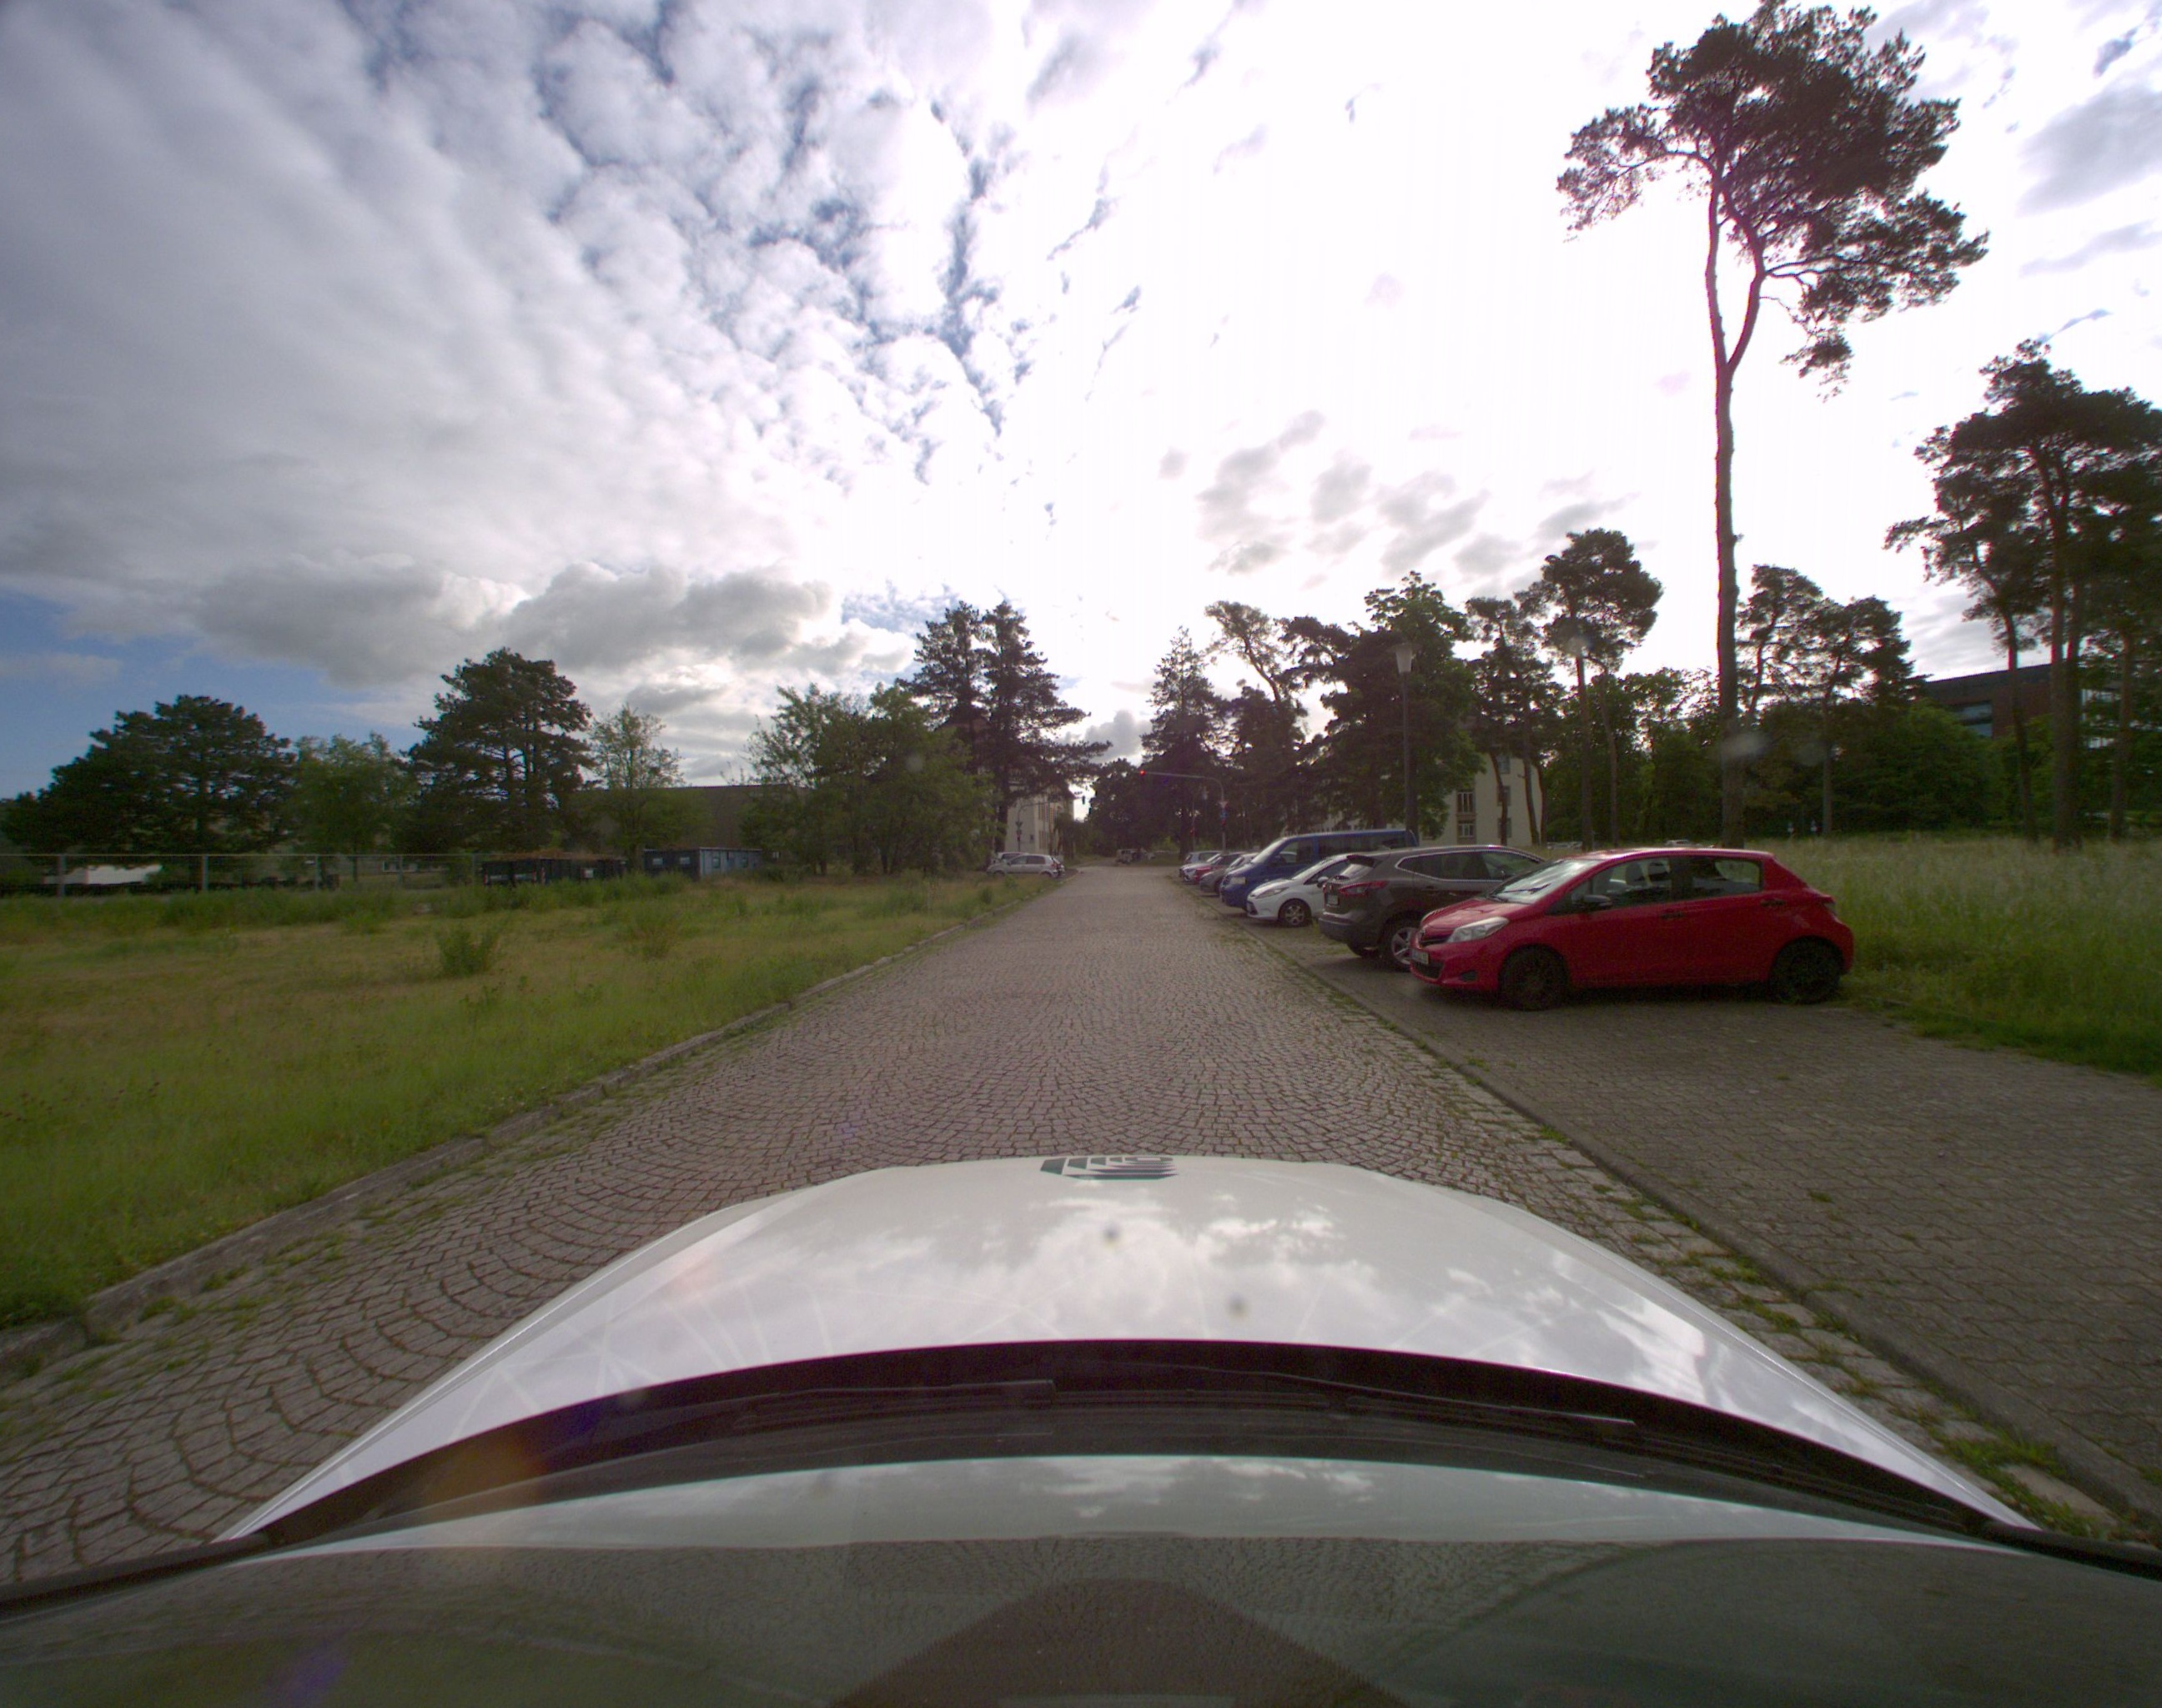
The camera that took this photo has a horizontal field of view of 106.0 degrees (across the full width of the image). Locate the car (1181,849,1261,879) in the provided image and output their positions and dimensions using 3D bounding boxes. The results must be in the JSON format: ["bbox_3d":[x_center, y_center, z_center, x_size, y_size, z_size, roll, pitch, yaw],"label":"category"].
[{"bbox_3d":[7.517,0.527,43.822,3.957,1.421,1.619,-3,0,-2],"label":"car"}]

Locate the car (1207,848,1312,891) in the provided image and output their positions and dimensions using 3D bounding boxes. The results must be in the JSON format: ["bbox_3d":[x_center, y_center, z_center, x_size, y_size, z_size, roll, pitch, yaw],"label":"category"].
[{"bbox_3d":[6.773,0.574,31.082,3.659,1.449,1.524,-3,0,1],"label":"car"}]

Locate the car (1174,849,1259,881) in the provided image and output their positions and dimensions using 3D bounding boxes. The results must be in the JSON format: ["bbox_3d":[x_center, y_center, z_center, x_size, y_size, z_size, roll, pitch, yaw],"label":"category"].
[{"bbox_3d":[6.800,0.562,41.199,3.957,1.421,1.619,-3,0,-2],"label":"car"}]

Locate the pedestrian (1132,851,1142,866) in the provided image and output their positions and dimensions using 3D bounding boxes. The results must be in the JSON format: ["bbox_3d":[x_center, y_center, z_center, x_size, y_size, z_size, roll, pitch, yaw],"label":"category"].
[{"bbox_3d":[6.432,0.513,93.235,1.030,1.614,0.757,-1,0,-2],"label":"pedestrian"}]

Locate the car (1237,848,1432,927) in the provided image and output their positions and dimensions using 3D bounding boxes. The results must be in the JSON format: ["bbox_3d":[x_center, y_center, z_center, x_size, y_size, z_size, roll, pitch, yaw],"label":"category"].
[{"bbox_3d":[5.347,0.682,17.483,3.659,1.449,1.615,-3,0,0],"label":"car"}]

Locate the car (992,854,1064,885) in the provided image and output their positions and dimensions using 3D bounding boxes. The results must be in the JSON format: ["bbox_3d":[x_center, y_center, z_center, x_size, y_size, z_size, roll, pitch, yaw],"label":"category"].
[{"bbox_3d":[-2.942,0.860,45.651,3.806,1.572,1.565,-3,0,2],"label":"car"}]

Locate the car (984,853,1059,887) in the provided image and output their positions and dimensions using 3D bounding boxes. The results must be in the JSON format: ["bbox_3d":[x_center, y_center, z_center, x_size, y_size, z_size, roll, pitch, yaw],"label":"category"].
[{"bbox_3d":[-3.121,0.826,43.238,3.810,1.572,1.564,-3,0,-1],"label":"car"}]

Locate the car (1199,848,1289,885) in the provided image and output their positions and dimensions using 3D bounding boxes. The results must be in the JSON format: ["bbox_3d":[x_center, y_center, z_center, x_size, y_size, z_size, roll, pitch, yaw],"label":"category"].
[{"bbox_3d":[7.164,0.549,36.065,3.659,1.449,1.524,-3,0,1],"label":"car"}]

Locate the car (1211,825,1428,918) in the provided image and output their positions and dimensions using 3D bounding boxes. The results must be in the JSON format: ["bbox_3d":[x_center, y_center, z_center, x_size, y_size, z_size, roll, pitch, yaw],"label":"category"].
[{"bbox_3d":[5.731,0.420,20.064,4.737,1.954,1.932,-3,0,1],"label":"car"}]

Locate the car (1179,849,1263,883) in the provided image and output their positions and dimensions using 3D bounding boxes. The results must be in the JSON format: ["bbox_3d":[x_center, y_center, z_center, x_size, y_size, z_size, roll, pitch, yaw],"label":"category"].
[{"bbox_3d":[6.553,0.562,38.350,3.662,1.421,1.523,-3,0,-2],"label":"car"}]

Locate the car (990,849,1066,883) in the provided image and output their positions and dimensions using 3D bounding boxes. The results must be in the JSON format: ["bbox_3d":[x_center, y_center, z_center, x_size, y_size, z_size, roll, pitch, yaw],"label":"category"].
[{"bbox_3d":[-3.124,0.704,48.653,4.245,1.840,1.745,-3,0,2],"label":"car"}]

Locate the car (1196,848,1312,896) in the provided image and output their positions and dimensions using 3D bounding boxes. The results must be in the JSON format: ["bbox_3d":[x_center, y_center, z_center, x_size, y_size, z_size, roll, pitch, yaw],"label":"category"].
[{"bbox_3d":[5.907,0.610,28.128,3.659,1.449,1.524,-3,0,1],"label":"car"}]

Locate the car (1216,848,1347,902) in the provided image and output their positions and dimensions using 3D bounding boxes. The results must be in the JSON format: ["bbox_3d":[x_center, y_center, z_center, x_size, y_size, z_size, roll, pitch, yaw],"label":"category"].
[{"bbox_3d":[6.172,0.636,25.332,3.659,1.449,1.524,-3,0,1],"label":"car"}]

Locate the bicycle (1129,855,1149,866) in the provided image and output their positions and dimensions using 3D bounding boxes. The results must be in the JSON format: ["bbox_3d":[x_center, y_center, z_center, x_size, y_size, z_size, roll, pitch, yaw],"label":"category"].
[{"bbox_3d":[6.615,0.716,92.883,2.131,1.215,0.621,-1,0,-2],"label":"bicycle"}]

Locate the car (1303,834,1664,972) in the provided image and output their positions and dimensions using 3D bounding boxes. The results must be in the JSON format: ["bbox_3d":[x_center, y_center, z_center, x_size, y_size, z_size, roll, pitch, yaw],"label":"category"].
[{"bbox_3d":[5.286,0.616,11.098,4.015,1.552,1.751,-3,0,0],"label":"car"}]

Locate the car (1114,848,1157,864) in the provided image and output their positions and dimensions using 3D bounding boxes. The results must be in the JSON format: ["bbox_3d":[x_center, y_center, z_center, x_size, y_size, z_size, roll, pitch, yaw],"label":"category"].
[{"bbox_3d":[7.392,0.286,110.792,5.439,2.013,2.264,-1,0,-6],"label":"car"}]

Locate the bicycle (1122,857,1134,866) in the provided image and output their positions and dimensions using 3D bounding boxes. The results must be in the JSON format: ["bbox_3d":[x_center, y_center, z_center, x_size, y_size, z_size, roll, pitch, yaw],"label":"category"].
[{"bbox_3d":[5.087,0.832,88.876,0.623,0.945,1.649,0,0,-24],"label":"bicycle"}]

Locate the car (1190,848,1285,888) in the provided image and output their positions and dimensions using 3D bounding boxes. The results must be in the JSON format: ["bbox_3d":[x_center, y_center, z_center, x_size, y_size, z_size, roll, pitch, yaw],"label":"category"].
[{"bbox_3d":[6.449,0.560,33.808,3.659,1.449,1.524,-3,0,1],"label":"car"}]

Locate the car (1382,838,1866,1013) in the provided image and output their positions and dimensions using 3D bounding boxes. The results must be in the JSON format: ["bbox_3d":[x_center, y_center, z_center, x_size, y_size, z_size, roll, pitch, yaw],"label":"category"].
[{"bbox_3d":[5.338,0.674,8.440,3.776,1.460,1.752,-3,0,3],"label":"car"}]
